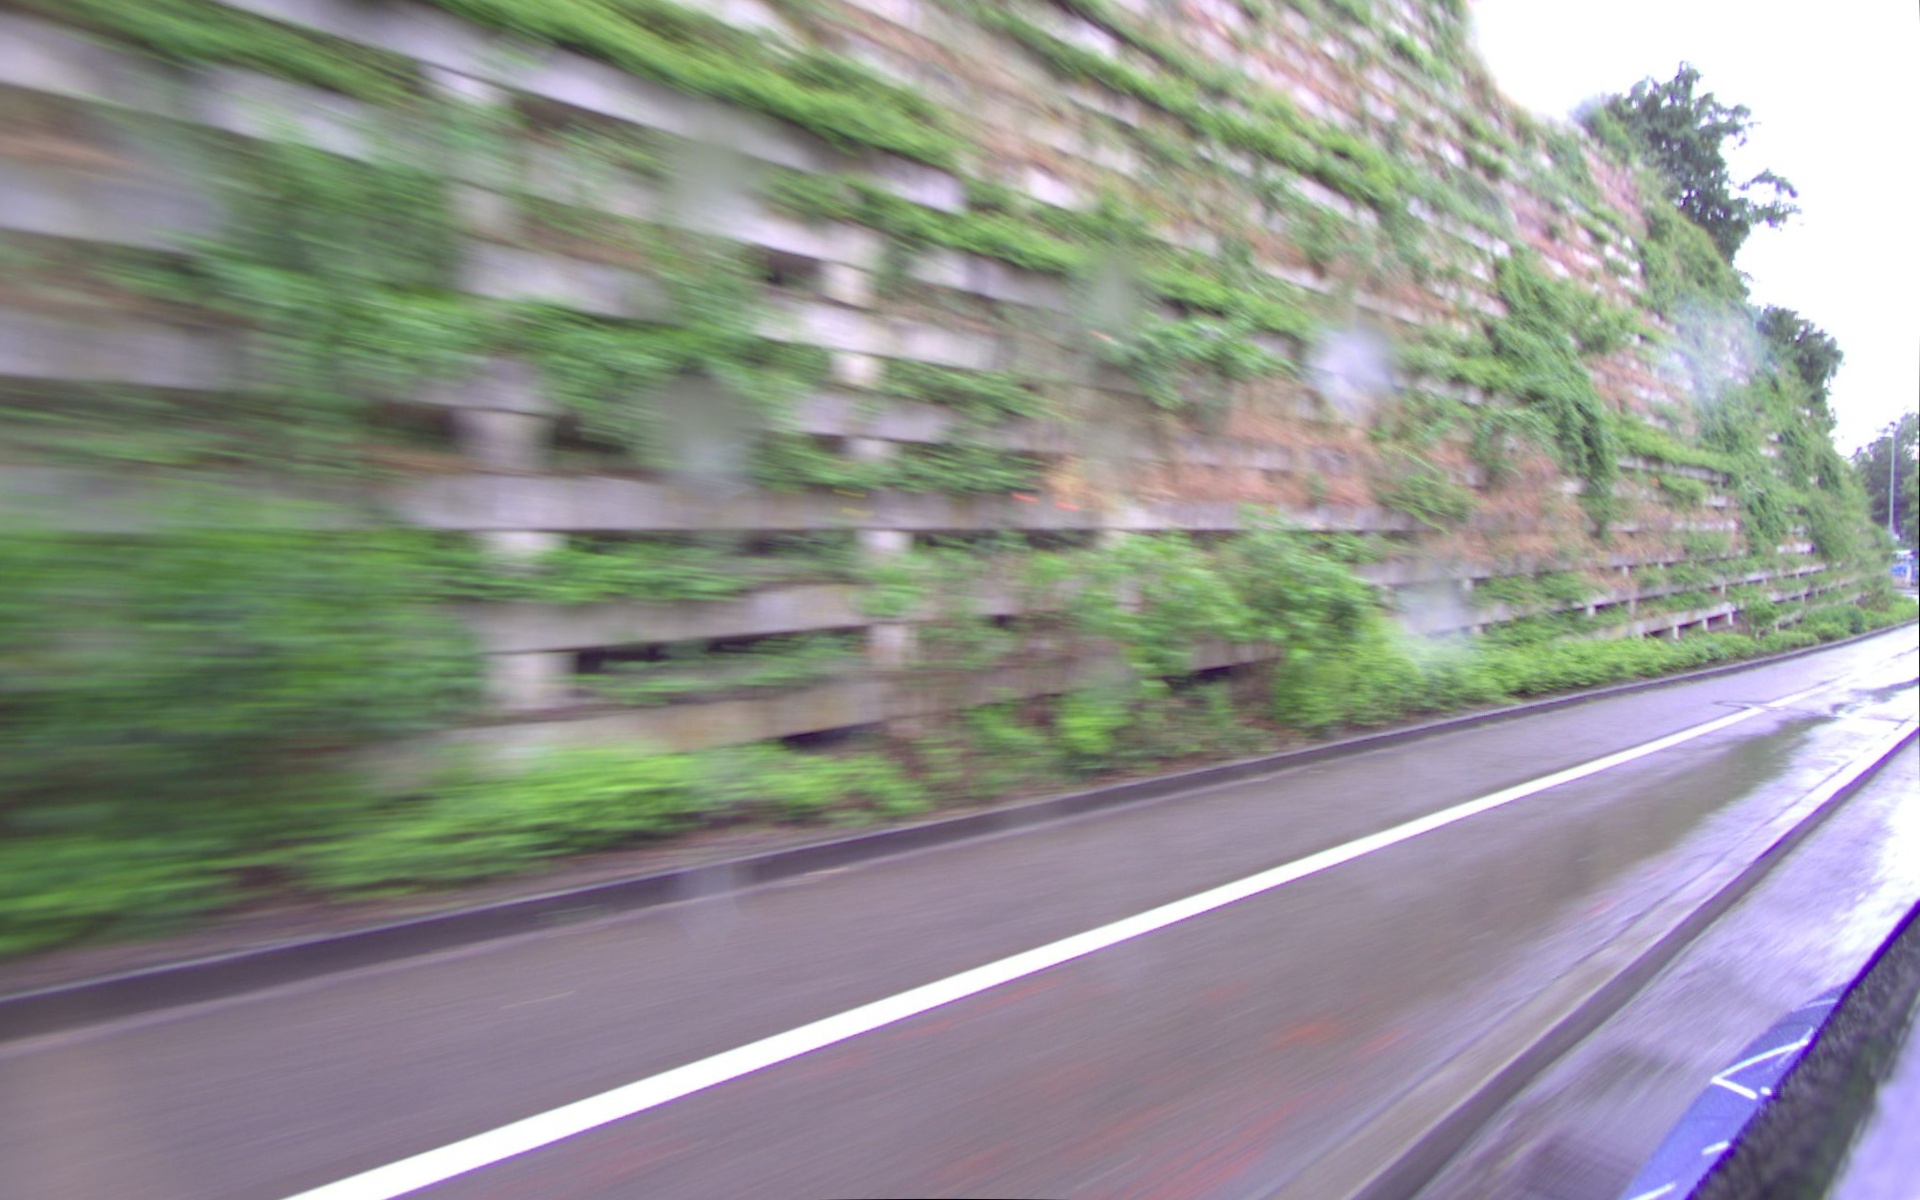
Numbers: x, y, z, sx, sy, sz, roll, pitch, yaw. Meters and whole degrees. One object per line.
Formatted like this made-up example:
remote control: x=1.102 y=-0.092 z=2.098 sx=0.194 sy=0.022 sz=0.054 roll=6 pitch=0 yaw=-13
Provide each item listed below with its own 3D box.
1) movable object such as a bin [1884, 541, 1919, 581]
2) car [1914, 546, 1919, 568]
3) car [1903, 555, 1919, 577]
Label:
movable object such as a bin: x=66.980 y=-2.647 z=69.709 sx=2.277 sy=2.718 sz=5.682 roll=3 pitch=4 yaw=13
car: x=80.140 y=-3.348 z=81.607 sx=1.888 sy=1.786 sz=4.388 roll=-2 pitch=6 yaw=-39
car: x=71.299 y=-2.363 z=73.437 sx=1.641 sy=1.592 sz=3.997 roll=-2 pitch=6 yaw=-40
